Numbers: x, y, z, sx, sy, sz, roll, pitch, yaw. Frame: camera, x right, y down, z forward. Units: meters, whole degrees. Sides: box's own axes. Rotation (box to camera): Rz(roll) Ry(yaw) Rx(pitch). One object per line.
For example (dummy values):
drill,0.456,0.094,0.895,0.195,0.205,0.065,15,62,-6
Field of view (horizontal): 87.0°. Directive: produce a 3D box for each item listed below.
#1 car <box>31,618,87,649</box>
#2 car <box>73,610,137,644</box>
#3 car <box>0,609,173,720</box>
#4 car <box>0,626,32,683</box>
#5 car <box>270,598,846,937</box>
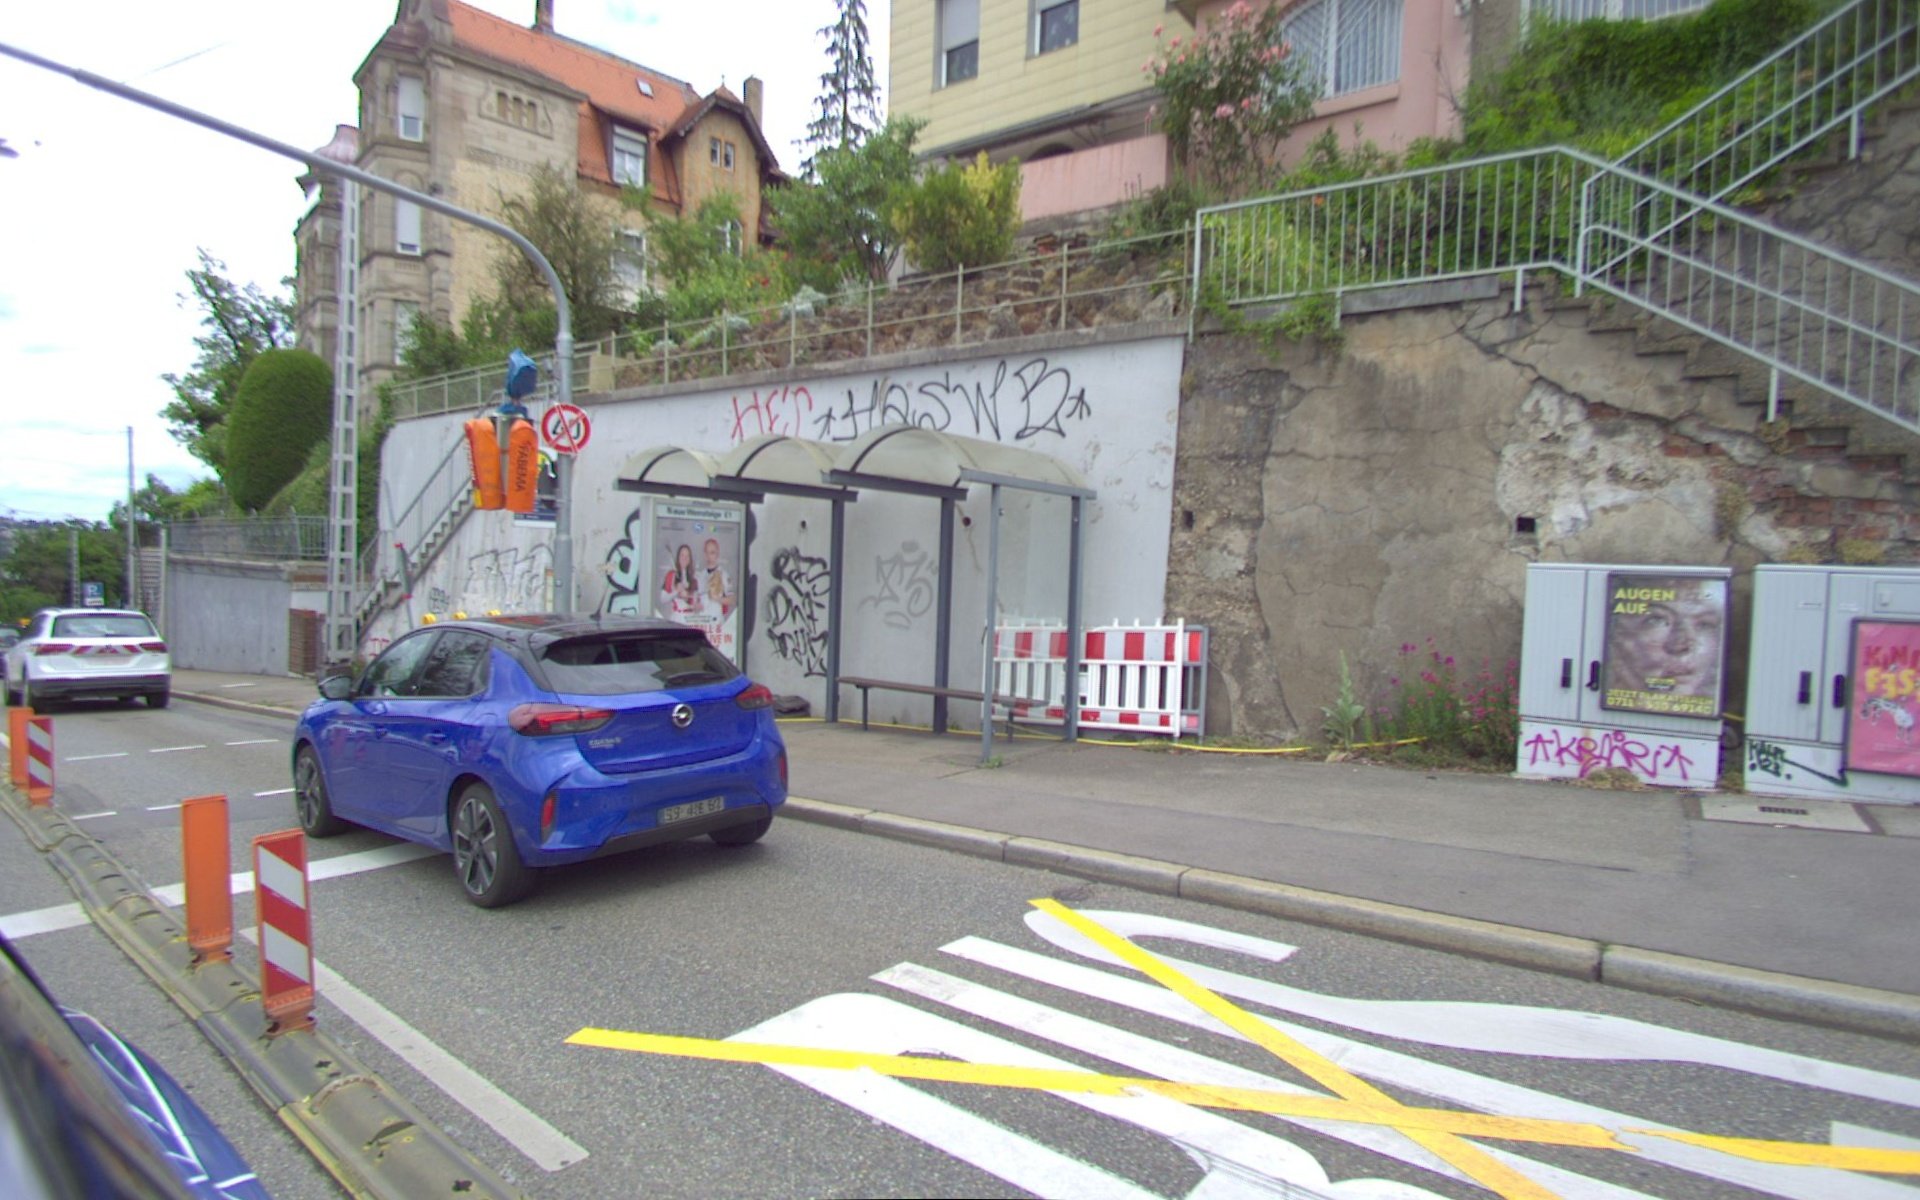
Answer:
car,-42.614,1.577,47.945,1.776,1.383,4.395,3,-3,-40
car,-56.498,1.814,66.983,2.038,2.204,4.978,2,-3,-26
car,-14.834,0.989,17.040,4.263,1.612,1.822,-1,-1,43
car,-25.978,1.407,26.955,3.589,1.441,1.653,-1,-2,44
car,-2.658,0.760,6.272,3.818,1.431,1.709,-2,0,40
